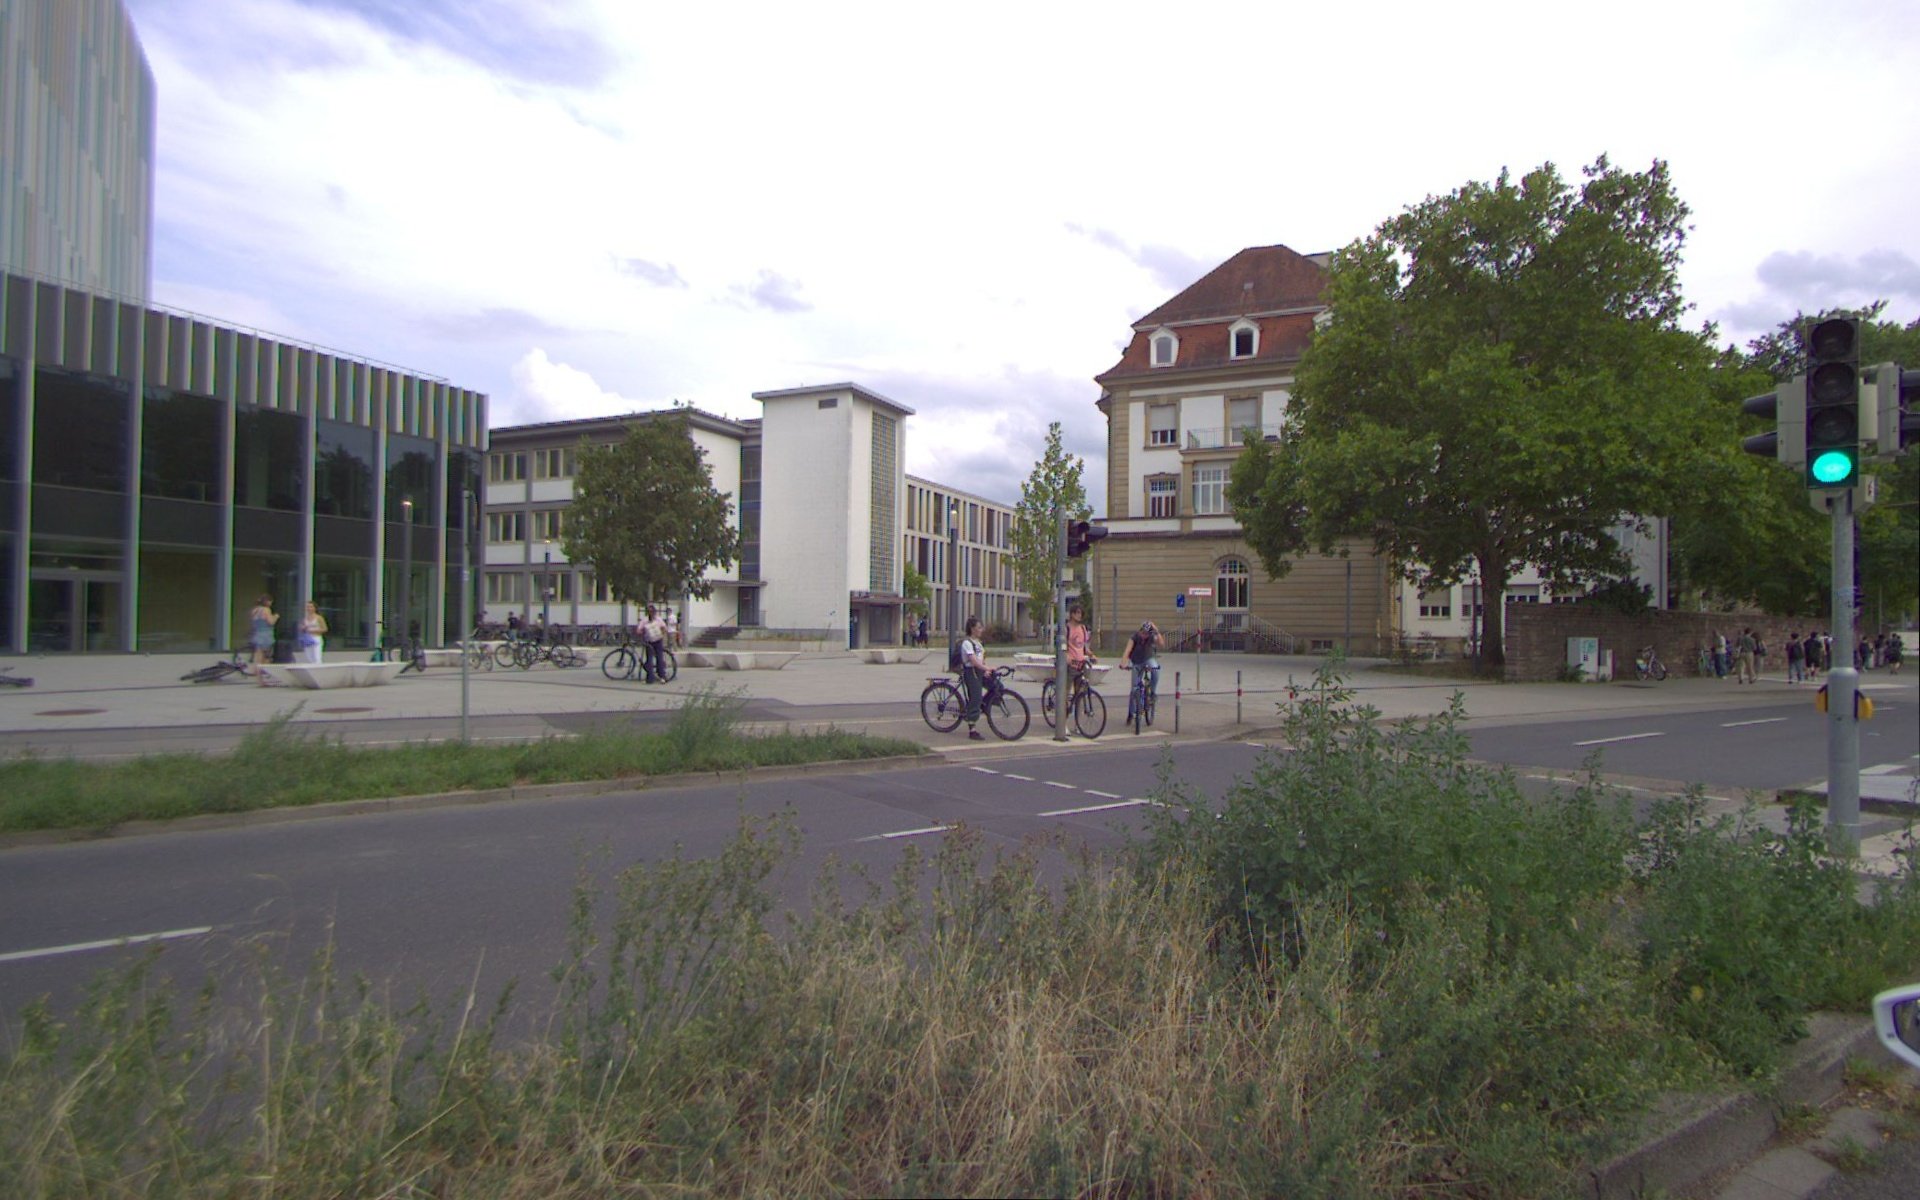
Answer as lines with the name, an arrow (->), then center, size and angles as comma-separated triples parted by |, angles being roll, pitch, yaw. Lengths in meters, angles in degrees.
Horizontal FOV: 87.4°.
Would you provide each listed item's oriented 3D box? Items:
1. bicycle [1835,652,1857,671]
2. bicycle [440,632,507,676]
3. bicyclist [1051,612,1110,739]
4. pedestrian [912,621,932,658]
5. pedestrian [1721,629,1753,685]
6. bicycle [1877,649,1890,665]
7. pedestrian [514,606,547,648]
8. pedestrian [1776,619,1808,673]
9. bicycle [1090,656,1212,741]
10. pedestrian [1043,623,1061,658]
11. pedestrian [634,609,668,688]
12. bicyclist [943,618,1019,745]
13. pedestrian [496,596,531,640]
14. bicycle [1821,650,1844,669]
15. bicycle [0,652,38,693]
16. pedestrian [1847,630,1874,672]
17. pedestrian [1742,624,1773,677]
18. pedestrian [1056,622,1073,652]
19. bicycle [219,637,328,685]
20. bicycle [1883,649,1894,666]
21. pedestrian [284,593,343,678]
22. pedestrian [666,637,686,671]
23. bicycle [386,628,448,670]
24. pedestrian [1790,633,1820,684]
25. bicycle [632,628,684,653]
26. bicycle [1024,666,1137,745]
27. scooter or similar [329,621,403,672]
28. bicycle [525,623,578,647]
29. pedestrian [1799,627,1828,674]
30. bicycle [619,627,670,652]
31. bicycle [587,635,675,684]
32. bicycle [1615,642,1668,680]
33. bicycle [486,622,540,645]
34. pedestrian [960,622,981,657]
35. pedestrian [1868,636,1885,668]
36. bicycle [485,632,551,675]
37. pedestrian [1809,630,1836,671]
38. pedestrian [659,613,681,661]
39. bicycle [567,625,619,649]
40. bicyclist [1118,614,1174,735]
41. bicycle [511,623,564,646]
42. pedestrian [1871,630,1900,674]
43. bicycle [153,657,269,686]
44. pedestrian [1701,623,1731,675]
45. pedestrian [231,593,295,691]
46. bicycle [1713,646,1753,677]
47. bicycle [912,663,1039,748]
bicycle -> 41.349, 2.858, 46.880 | 1.606, 0.807, 0.437 | 1, 1, -37
bicycle -> -13.136, 1.435, 27.089 | 0.792, 1.104, 2.647 | 2, -2, -45
bicyclist -> 1.795, 1.109, 14.970 | 0.558, 1.831, 0.593 | 2, 0, -44
pedestrian -> -1.663, 1.710, 43.599 | 0.648, 1.569, 0.706 | 2, -2, -24
pedestrian -> 25.614, 1.866, 33.123 | 0.733, 1.805, 0.782 | 1, -2, 30
bicycle -> 49.220, 3.046, 53.547 | 0.436, 0.838, 1.610 | 3, 0, 45
pedestrian -> -20.281, 1.268, 47.412 | 1.051, 1.956, 0.974 | 0, -1, 26
pedestrian -> 28.469, 1.567, 34.367 | 0.748, 1.805, 0.782 | 1, -2, 33
bicycle -> 2.962, 1.504, 15.734 | 0.603, 1.185, 1.870 | 2, -2, -45
pedestrian -> 5.349, 2.354, 58.336 | 0.779, 2.040, 0.835 | 0, -1, 25
pedestrian -> -6.388, 0.995, 20.763 | 0.566, 1.602, 0.649 | 1, -1, -25
bicyclist -> 0.290, 1.120, 14.089 | 0.719, 1.695, 0.719 | 2, 0, -44
pedestrian -> -20.543, 0.824, 46.185 | 1.051, 1.956, 0.974 | 1, -1, 26
bicycle -> 39.559, 2.695, 45.528 | 1.606, 0.807, 0.437 | 1, 1, -37
bicycle -> -17.645, 1.284, 18.158 | 1.759, 0.682, 0.394 | 2, 0, 7
pedestrian -> 39.746, 2.245, 44.341 | 0.748, 1.805, 0.782 | 1, -2, 34
pedestrian -> 28.253, 1.786, 35.575 | 0.748, 1.805, 0.782 | 1, -2, 31
pedestrian -> 7.310, 2.585, 70.204 | 0.900, 2.040, 1.231 | 0, -1, 24
bicycle -> -15.176, 1.327, 22.212 | 2.205, 0.998, 0.624 | 0, -1, 13
bicycle -> 53.477, 3.307, 57.841 | 0.412, 0.890, 1.546 | 3, 0, 45
pedestrian -> -12.647, 0.694, 19.662 | 0.717, 1.621, 0.677 | 0, -1, 29
pedestrian -> -13.048, 2.483, 46.223 | 0.644, 1.569, 0.599 | 1, -1, 12
bicycle -> -13.928, 1.229, 25.720 | 0.669, 1.012, 2.647 | 2, -2, -45
pedestrian -> 30.334, 2.101, 36.061 | 0.748, 1.805, 0.782 | 1, -2, 34
bicycle -> -14.233, 1.904, 47.451 | 0.732, 1.149, 2.671 | 0, -1, 25
bicycle -> 1.776, 1.538, 14.975 | 0.568, 1.002, 1.670 | 2, 0, -44
scooter or similar -> -14.992, 1.154, 25.336 | 2.087, 1.214, 0.595 | 0, -1, 28
bicycle -> -20.577, 1.759, 50.625 | 0.732, 1.149, 2.671 | 0, -1, 25
pedestrian -> 33.128, 1.967, 39.000 | 0.748, 1.805, 0.912 | 1, -2, 34
bicycle -> -15.142, 1.889, 48.296 | 0.732, 1.149, 2.671 | 0, -1, 25
bicycle -> -6.969, 1.249, 21.328 | 1.726, 1.012, 0.437 | 1, -1, -28
bicycle -> 21.991, 1.959, 32.393 | 2.141, 1.141, 0.574 | 2, 1, -32
bicycle -> -22.940, 1.701, 51.583 | 0.732, 1.149, 2.671 | 0, -1, 25
pedestrian -> 0.471, 1.814, 45.624 | 0.726, 1.569, 0.700 | 2, -2, -24
pedestrian -> 46.040, 2.611, 50.449 | 0.579, 1.613, 0.732 | 0, -3, 40
bicycle -> -12.313, 1.472, 27.932 | 0.792, 1.104, 2.647 | 2, -2, -45
pedestrian -> 36.091, 2.097, 42.057 | 0.748, 1.693, 0.921 | 0, -1, 34
pedestrian -> -11.097, 1.416, 38.471 | 0.630, 1.802, 0.591 | 2, -1, -33
bicycle -> -18.138, 1.819, 49.703 | 0.732, 1.149, 2.671 | 0, -1, 25
bicyclist -> 2.931, 1.156, 15.816 | 0.558, 1.831, 0.593 | 2, 0, -44
bicycle -> -21.579, 1.739, 51.344 | 0.732, 1.149, 2.671 | 0, -1, 25
pedestrian -> 38.668, 2.167, 41.995 | 0.748, 1.805, 0.922 | 1, -2, 34
bicycle -> -15.453, 1.460, 20.727 | 2.205, 0.528, 0.624 | 0, -1, 13
pedestrian -> 26.827, 1.730, 35.642 | 0.733, 1.805, 0.783 | 1, -2, 28
pedestrian -> -12.951, 0.773, 18.680 | 0.716, 1.763, 0.678 | 0, -1, 26
bicycle -> 28.663, 2.262, 37.241 | 1.960, 1.072, 0.545 | 2, 1, -34
bicycle -> 0.195, 1.446, 14.179 | 0.724, 1.002, 1.799 | 2, 0, -44
